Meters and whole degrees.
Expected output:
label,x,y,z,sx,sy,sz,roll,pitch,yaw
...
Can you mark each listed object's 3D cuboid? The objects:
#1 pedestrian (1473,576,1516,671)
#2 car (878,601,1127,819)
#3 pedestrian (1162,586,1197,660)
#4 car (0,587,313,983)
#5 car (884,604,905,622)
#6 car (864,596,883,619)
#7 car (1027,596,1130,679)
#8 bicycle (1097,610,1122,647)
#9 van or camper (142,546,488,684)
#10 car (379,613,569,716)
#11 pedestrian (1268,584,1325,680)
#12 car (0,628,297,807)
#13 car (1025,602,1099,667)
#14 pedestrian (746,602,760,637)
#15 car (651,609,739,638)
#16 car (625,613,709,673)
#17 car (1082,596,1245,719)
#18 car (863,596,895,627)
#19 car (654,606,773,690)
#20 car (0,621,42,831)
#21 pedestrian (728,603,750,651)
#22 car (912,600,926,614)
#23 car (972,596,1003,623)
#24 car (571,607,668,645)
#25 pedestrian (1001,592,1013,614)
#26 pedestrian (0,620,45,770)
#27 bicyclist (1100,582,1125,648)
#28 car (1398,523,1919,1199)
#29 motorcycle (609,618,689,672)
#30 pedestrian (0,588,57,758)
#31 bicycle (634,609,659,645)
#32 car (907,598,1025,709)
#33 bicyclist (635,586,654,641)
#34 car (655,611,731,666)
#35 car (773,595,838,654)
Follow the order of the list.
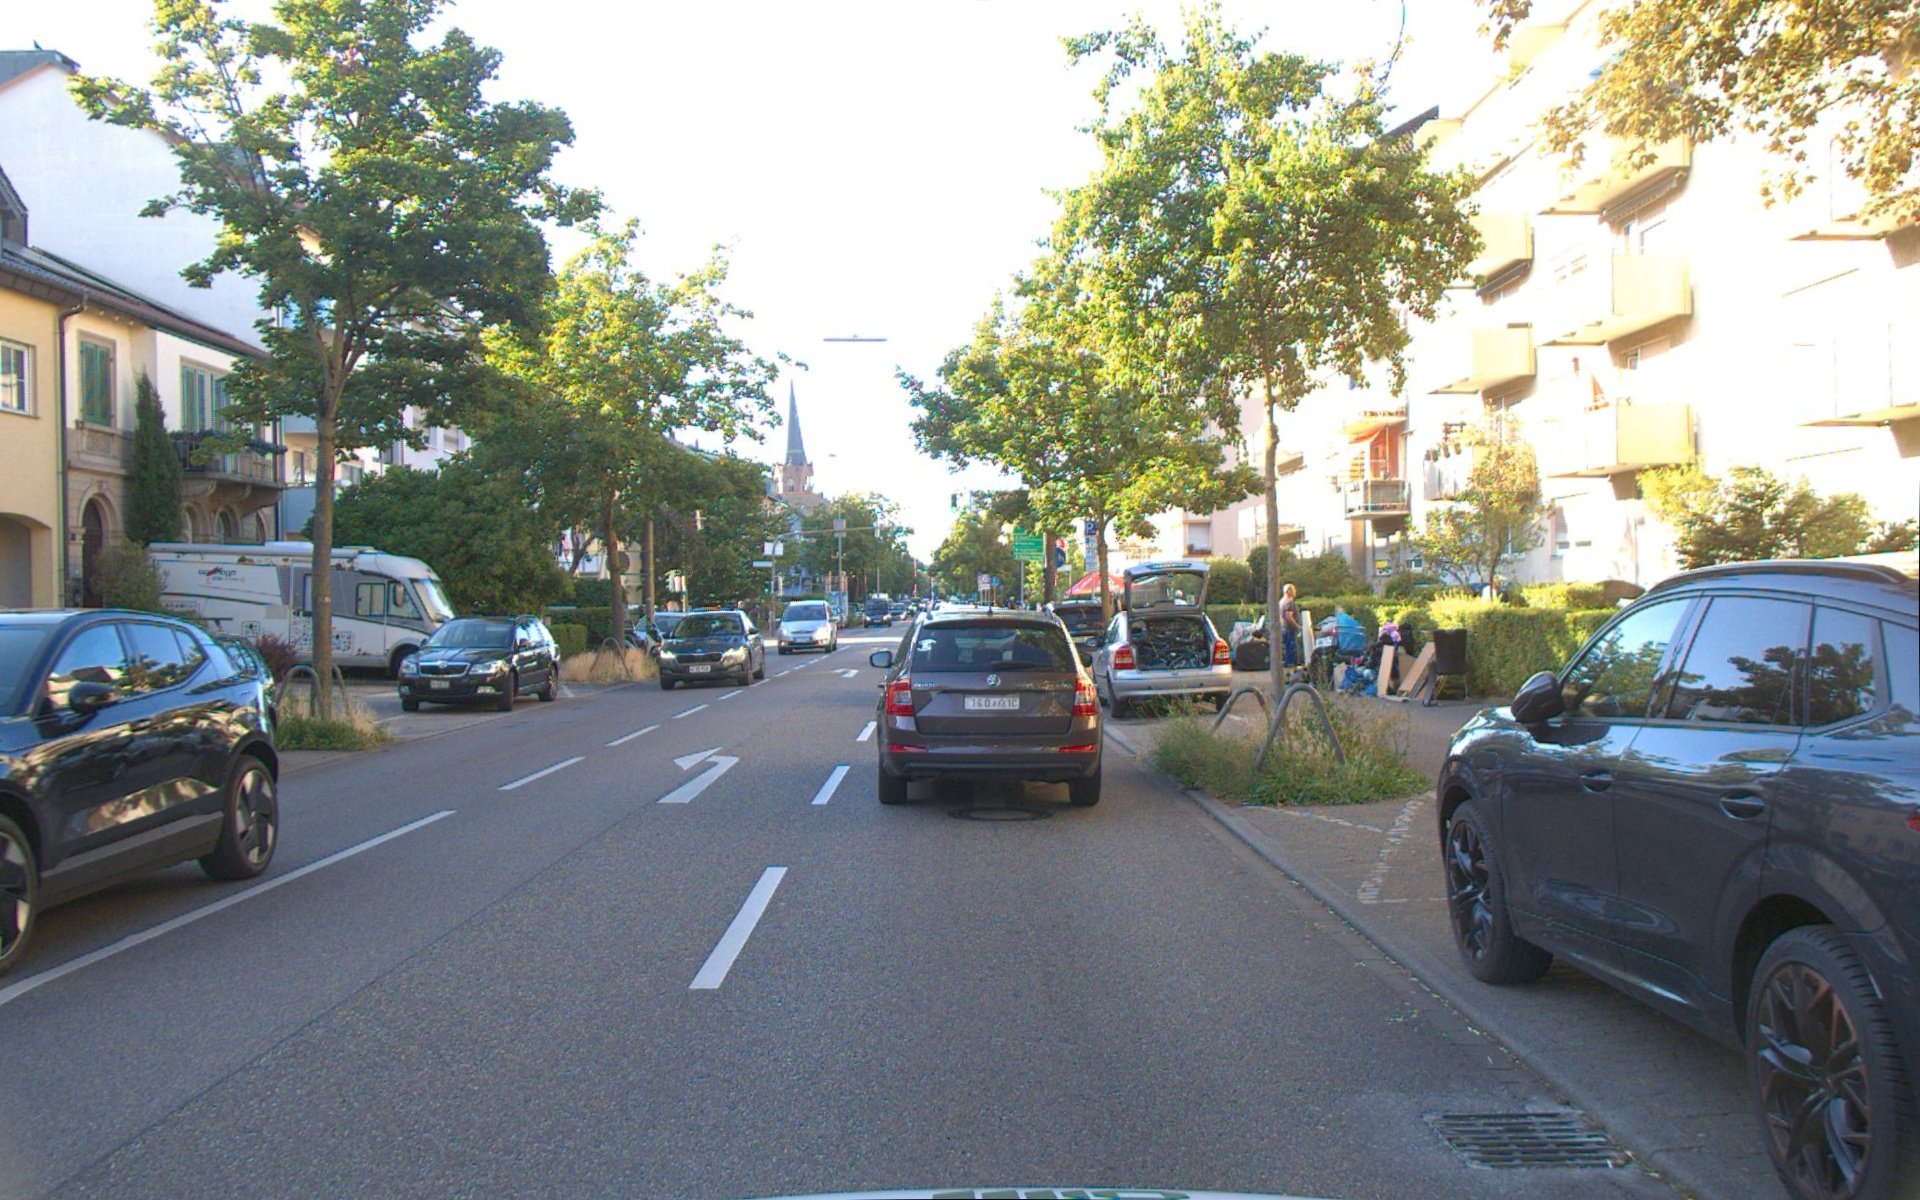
label,x,y,z,sx,sy,sz,roll,pitch,yaw
pedestrian,9.597,0.418,29.710,0.467,1.668,0.533,-1,0,-20
car,0.258,0.774,13.676,1.737,1.515,4.310,0,0,-1
pedestrian,5.393,0.566,40.621,0.649,1.779,0.772,-3,-1,-3
car,-4.825,0.809,8.006,1.798,1.597,3.999,-3,-1,-1
car,-6.042,1.162,153.002,1.793,1.607,3.999,-1,0,0
car,-9.603,0.841,183.682,1.953,2.521,3.999,-1,0,-1
car,2.518,0.780,36.086,1.818,1.609,4.012,-3,0,-1
bicycle,4.218,0.807,46.681,0.505,1.004,1.831,-1,0,0
van or camper,-14.159,0.337,36.640,6.660,2.821,2.351,1,0,-2
car,-7.928,1.003,27.440,1.829,1.521,4.516,1,0,0
pedestrian,5.943,0.565,29.229,0.742,1.668,0.693,-2,-1,36
car,-7.735,1.014,15.614,1.511,1.421,3.665,-1,0,-1
car,2.530,0.823,41.711,1.668,1.475,4.014,-3,0,2
pedestrian,-10.932,1.015,87.445,0.603,1.828,0.504,-1,0,0
car,-14.492,1.264,90.584,4.540,1.562,1.861,0,0,-1
car,-7.807,1.123,44.333,1.561,1.496,3.803,1,0,0
car,2.808,0.753,23.682,1.673,1.506,4.267,-3,0,-1
car,-5.541,0.769,113.376,1.953,1.942,4.963,-3,0,-1
car,-4.935,0.924,33.697,1.725,1.477,4.533,-3,0,-1
car,-7.849,0.941,10.843,1.561,1.550,3.889,-1,0,-2
pedestrian,-9.343,1.143,69.900,0.764,2.022,0.821,-1,0,0
car,-6.234,1.038,250.738,1.953,2.049,4.000,-1,0,0
car,1.842,0.643,111.104,1.952,1.803,4.001,1,0,2
car,-17.416,1.322,84.709,4.540,1.843,1.861,-1,0,-1
pedestrian,3.806,0.237,132.844,0.661,1.734,0.800,-1,-1,26
pedestrian,-9.931,0.976,17.129,0.577,1.522,0.542,-1,0,2
bicyclist,4.301,0.414,46.700,0.569,1.820,0.852,-1,0,-1
car,2.925,0.601,5.161,1.818,1.631,4.310,-4,0,-1
motorcycle,-7.647,1.106,40.626,2.015,1.287,0.764,-2,-1,38
pedestrian,-10.407,0.795,18.105,0.699,1.824,0.572,-1,0,2
bicycle,-9.662,0.825,50.964,0.476,1.083,1.534,-1,0,-1
car,0.096,0.788,26.222,1.701,1.598,4.000,1,0,0
bicyclist,-9.663,0.409,50.716,0.459,1.692,0.552,-1,0,-1
car,-7.847,1.096,48.962,1.615,1.544,4.073,0,0,0
car,-5.191,0.809,56.189,1.769,1.836,4.744,-3,0,-1
